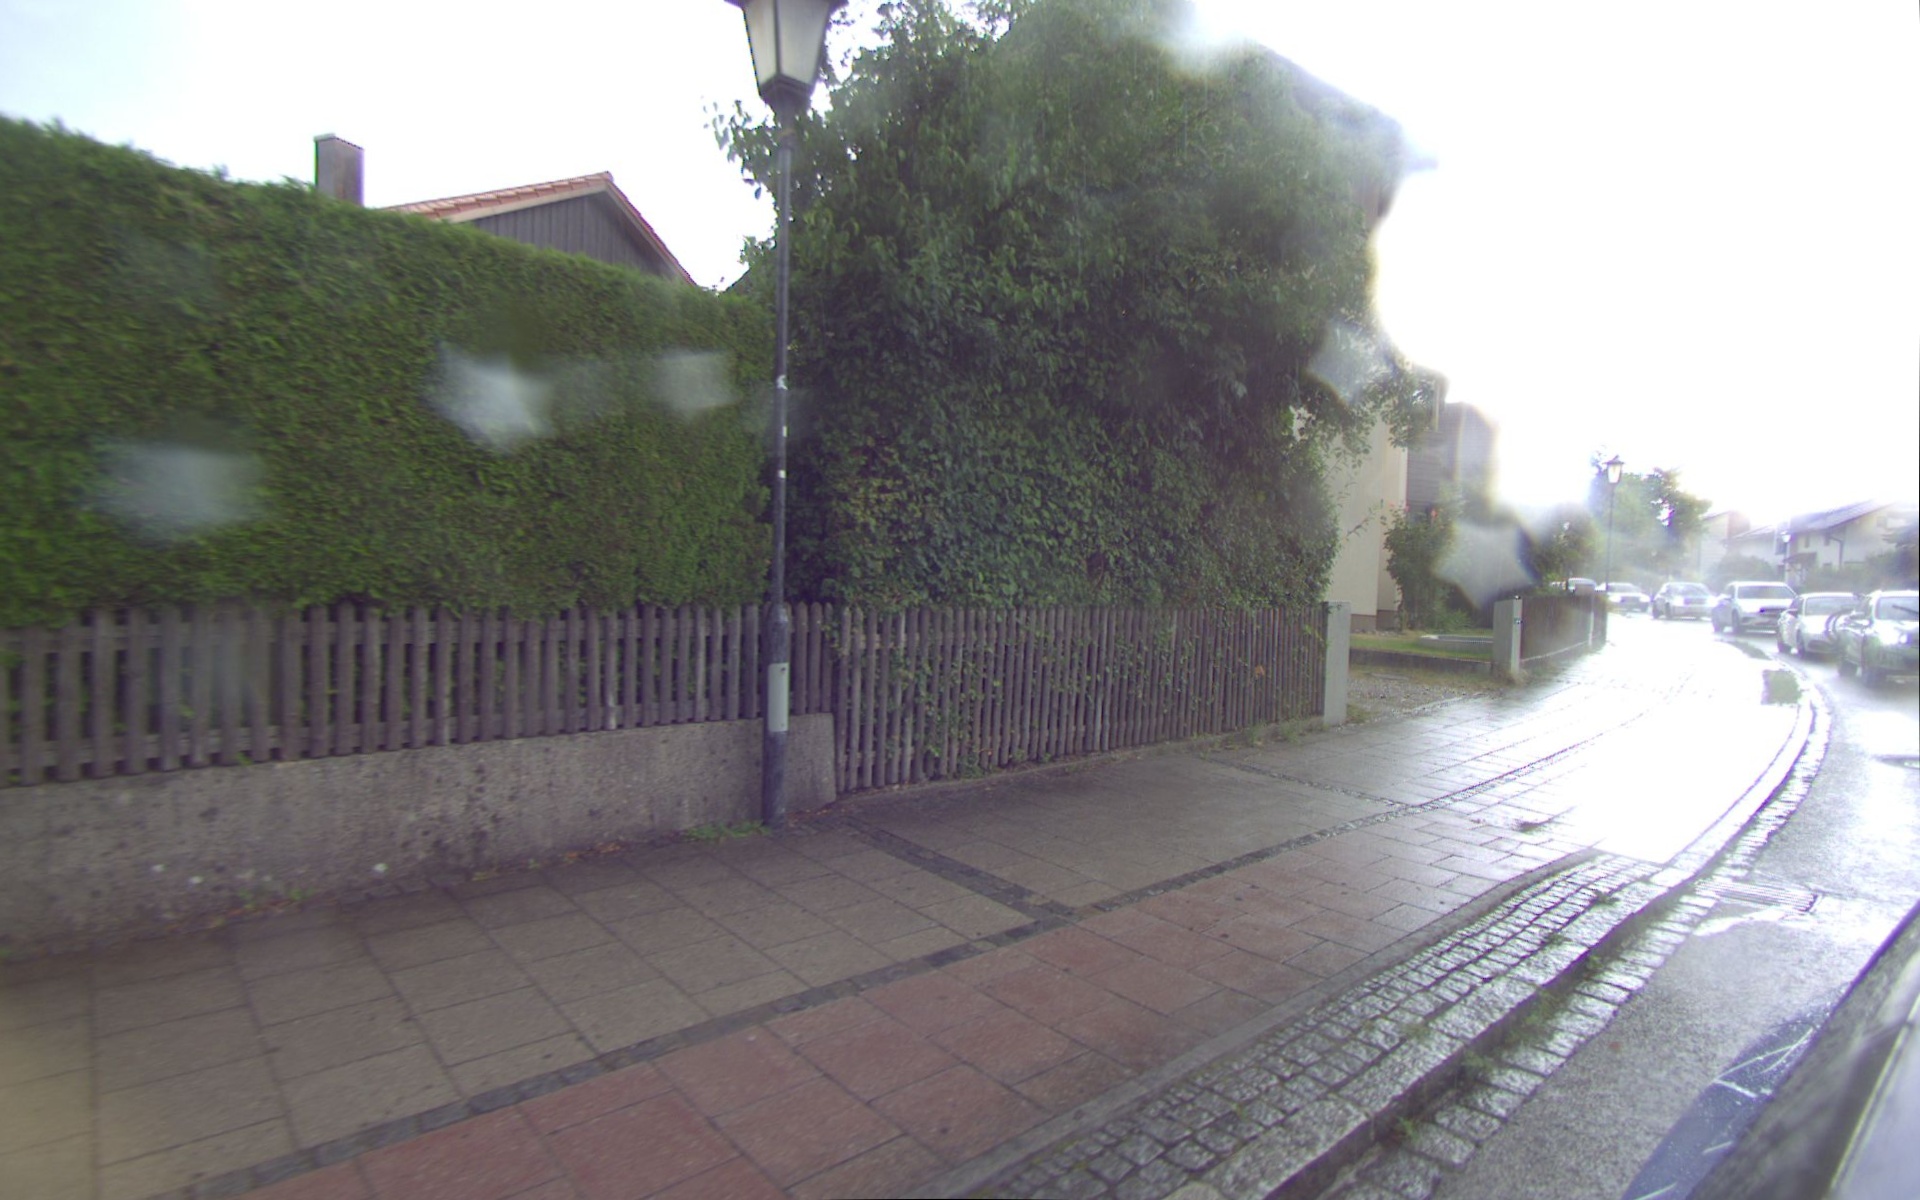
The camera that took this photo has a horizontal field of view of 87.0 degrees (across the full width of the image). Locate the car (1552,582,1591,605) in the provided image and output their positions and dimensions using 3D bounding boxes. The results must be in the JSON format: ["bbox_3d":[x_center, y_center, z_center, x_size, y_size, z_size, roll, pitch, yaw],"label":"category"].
[{"bbox_3d":[44.382,-0.481,73.512,1.775,1.568,4.248,0,1,23],"label":"car"}]

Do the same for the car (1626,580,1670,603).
[{"bbox_3d":[47.808,-0.601,70.379,1.776,1.568,4.245,0,1,25],"label":"car"}]

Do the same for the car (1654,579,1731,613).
[{"bbox_3d":[31.451,-0.174,43.574,1.775,1.391,4.248,0,1,23],"label":"car"}]

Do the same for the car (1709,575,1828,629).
[{"bbox_3d":[24.958,0.036,31.417,1.775,1.568,4.248,0,1,23],"label":"car"}]

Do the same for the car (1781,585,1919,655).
[{"bbox_3d":[19.696,0.372,22.560,1.783,1.412,4.228,0,1,34],"label":"car"}]

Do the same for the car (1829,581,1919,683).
[{"bbox_3d":[16.067,0.437,16.871,1.783,1.498,5.319,0,1,34],"label":"car"}]

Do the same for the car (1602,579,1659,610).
[{"bbox_3d":[36.093,-0.317,54.552,1.775,1.568,4.248,0,1,23],"label":"car"}]

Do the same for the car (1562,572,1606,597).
[{"bbox_3d":[40.191,-0.997,65.226,1.775,1.568,4.248,0,1,23],"label":"car"}]
